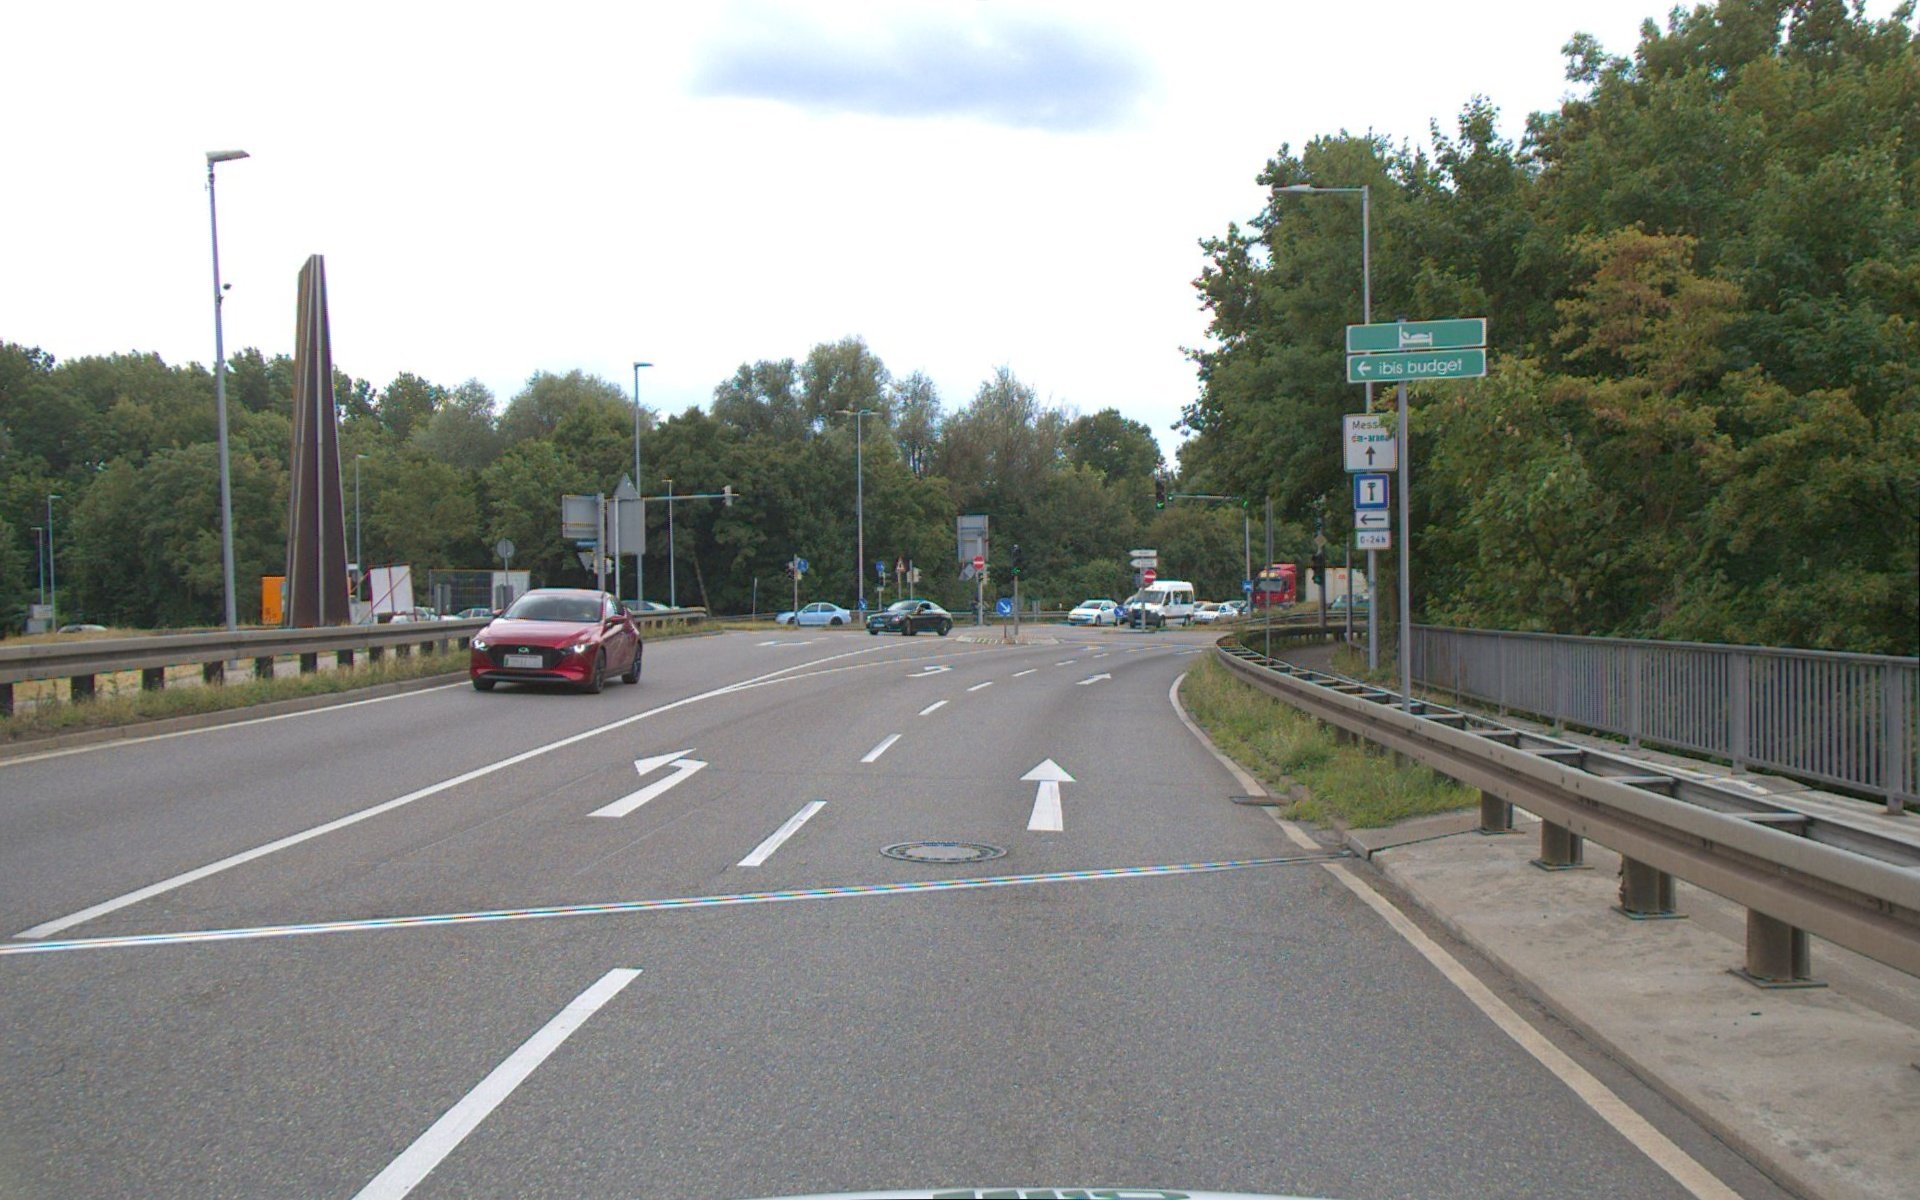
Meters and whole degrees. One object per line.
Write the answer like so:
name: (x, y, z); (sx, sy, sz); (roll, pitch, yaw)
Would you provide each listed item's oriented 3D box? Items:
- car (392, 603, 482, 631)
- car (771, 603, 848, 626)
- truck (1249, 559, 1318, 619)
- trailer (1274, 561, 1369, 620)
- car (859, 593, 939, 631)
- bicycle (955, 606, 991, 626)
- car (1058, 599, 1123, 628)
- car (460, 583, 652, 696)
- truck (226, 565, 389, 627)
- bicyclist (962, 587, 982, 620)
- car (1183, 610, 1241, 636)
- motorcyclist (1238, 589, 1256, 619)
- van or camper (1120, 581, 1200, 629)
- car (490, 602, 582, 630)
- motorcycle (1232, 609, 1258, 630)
car: (-26.727, 0.858, 84.474); (4.241, 1.333, 1.997); (1, 0, 29)
car: (-8.559, 0.843, 94.151); (4.137, 1.226, 1.994); (1, 0, -13)
truck: (23.031, -0.742, 117.701); (2.527, 4.155, 5.596); (1, 0, 38)
trailer: (26.908, -0.676, 122.709); (2.494, 4.220, 10.722); (1, 0, 38)
car: (-2.430, 0.481, 67.236); (1.951, 1.481, 4.657); (1, 0, 15)
bicycle: (0.711, 0.888, 90.566); (1.907, 1.071, 0.705); (-2, -2, 39)
car: (7.530, 0.752, 94.994); (1.956, 1.574, 4.530); (1, 0, 30)
car: (-5.876, 0.531, 24.594); (1.759, 1.497, 4.635); (1, 0, -1)
truck: (-35.325, -0.231, 89.450); (9.068, 3.190, 2.968); (1, 0, 28)
bicyclist: (0.669, 0.197, 90.677); (0.731, 1.765, 0.797); (-1, -1, 39)
car: (15.401, 1.371, 100.964); (1.958, 1.524, 4.388); (1, 0, 32)
motorcyclist: (18.108, 0.267, 104.444); (0.850, 1.855, 0.923); (1, 0, 32)
van or camper: (11.583, 0.275, 95.245); (2.121, 2.634, 6.481); (1, 0, 31)
car: (-21.936, 0.804, 85.547); (4.473, 1.333, 1.997); (1, 0, 29)
motorcycle: (17.974, 1.218, 104.319); (0.784, 1.246, 2.321); (1, 0, 31)
